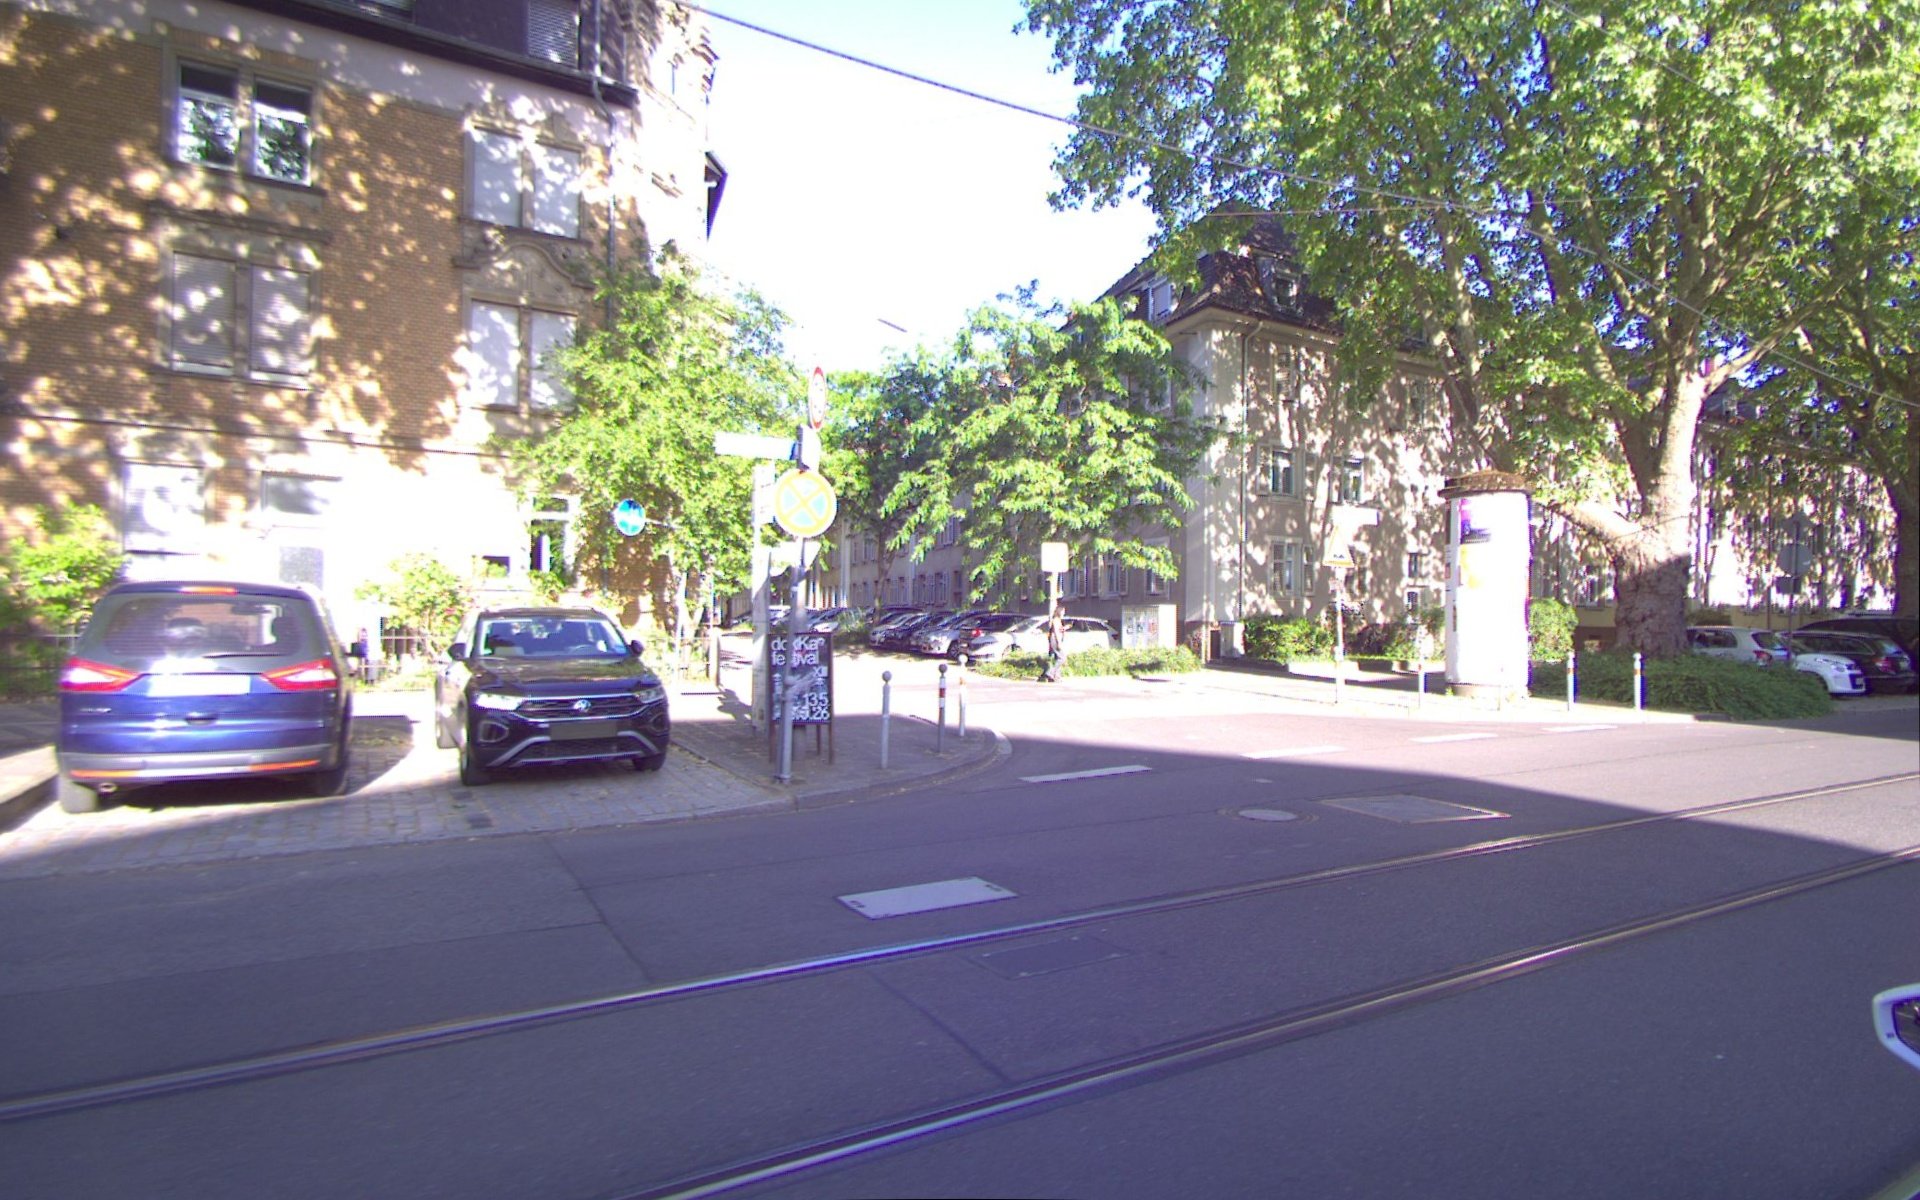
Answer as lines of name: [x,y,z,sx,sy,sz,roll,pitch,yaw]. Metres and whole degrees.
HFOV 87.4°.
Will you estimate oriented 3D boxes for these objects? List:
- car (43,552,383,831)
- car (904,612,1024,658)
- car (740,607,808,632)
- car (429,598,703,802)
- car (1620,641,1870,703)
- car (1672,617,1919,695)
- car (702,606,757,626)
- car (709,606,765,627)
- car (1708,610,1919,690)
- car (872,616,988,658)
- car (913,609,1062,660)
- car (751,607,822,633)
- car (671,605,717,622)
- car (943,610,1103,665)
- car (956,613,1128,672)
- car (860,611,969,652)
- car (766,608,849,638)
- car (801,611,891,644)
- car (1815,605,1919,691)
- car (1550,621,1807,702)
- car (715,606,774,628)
car: [-6.296,0.624,8.917,1.904,1.825,4.276,1,-1,-32]
car: [0.156,1.265,36.273,3.953,1.540,1.855,2,-1,-31]
car: [-12.136,1.270,65.471,3.953,1.540,1.855,2,-1,-31]
car: [-4.235,0.823,10.337,1.904,1.628,4.276,1,-1,-32]
car: [18.106,1.692,23.365,1.695,1.307,4.271,2,-5,-36]
car: [19.969,1.391,24.156,1.766,1.696,4.271,2,-5,-36]
car: [-18.627,1.290,81.060,3.953,1.540,1.855,2,-1,-31]
car: [-17.420,1.289,78.474,3.953,1.540,1.855,2,-1,-31]
car: [21.876,1.335,25.465,1.766,1.864,4.271,2,-5,-36]
car: [-1.136,1.398,38.126,3.953,1.510,1.984,2,-1,-30]
car: [0.914,1.163,33.831,4.617,1.613,1.991,1,0,-20]
car: [-10.923,1.274,63.288,3.953,1.540,1.855,2,-1,-31]
car: [-25.409,1.296,95.963,3.953,1.540,1.855,2,-1,-31]
car: [1.983,1.172,31.616,4.617,1.613,1.991,1,0,-20]
car: [2.381,1.229,29.263,4.669,1.613,1.853,1,0,-20]
car: [-1.826,1.265,40.459,3.953,1.540,1.855,2,-1,-31]
car: [-8.114,1.233,53.344,3.953,1.540,1.855,2,-1,-31]
car: [-5.526,1.347,48.757,3.953,1.540,1.855,2,-1,-31]
car: [27.807,1.358,28.409,2.056,2.405,5.017,1,-5,-29]
car: [15.807,1.409,22.331,1.766,1.613,4.271,2,-5,-36]
car: [-16.235,1.287,75.787,3.953,1.540,1.855,2,-1,-31]
